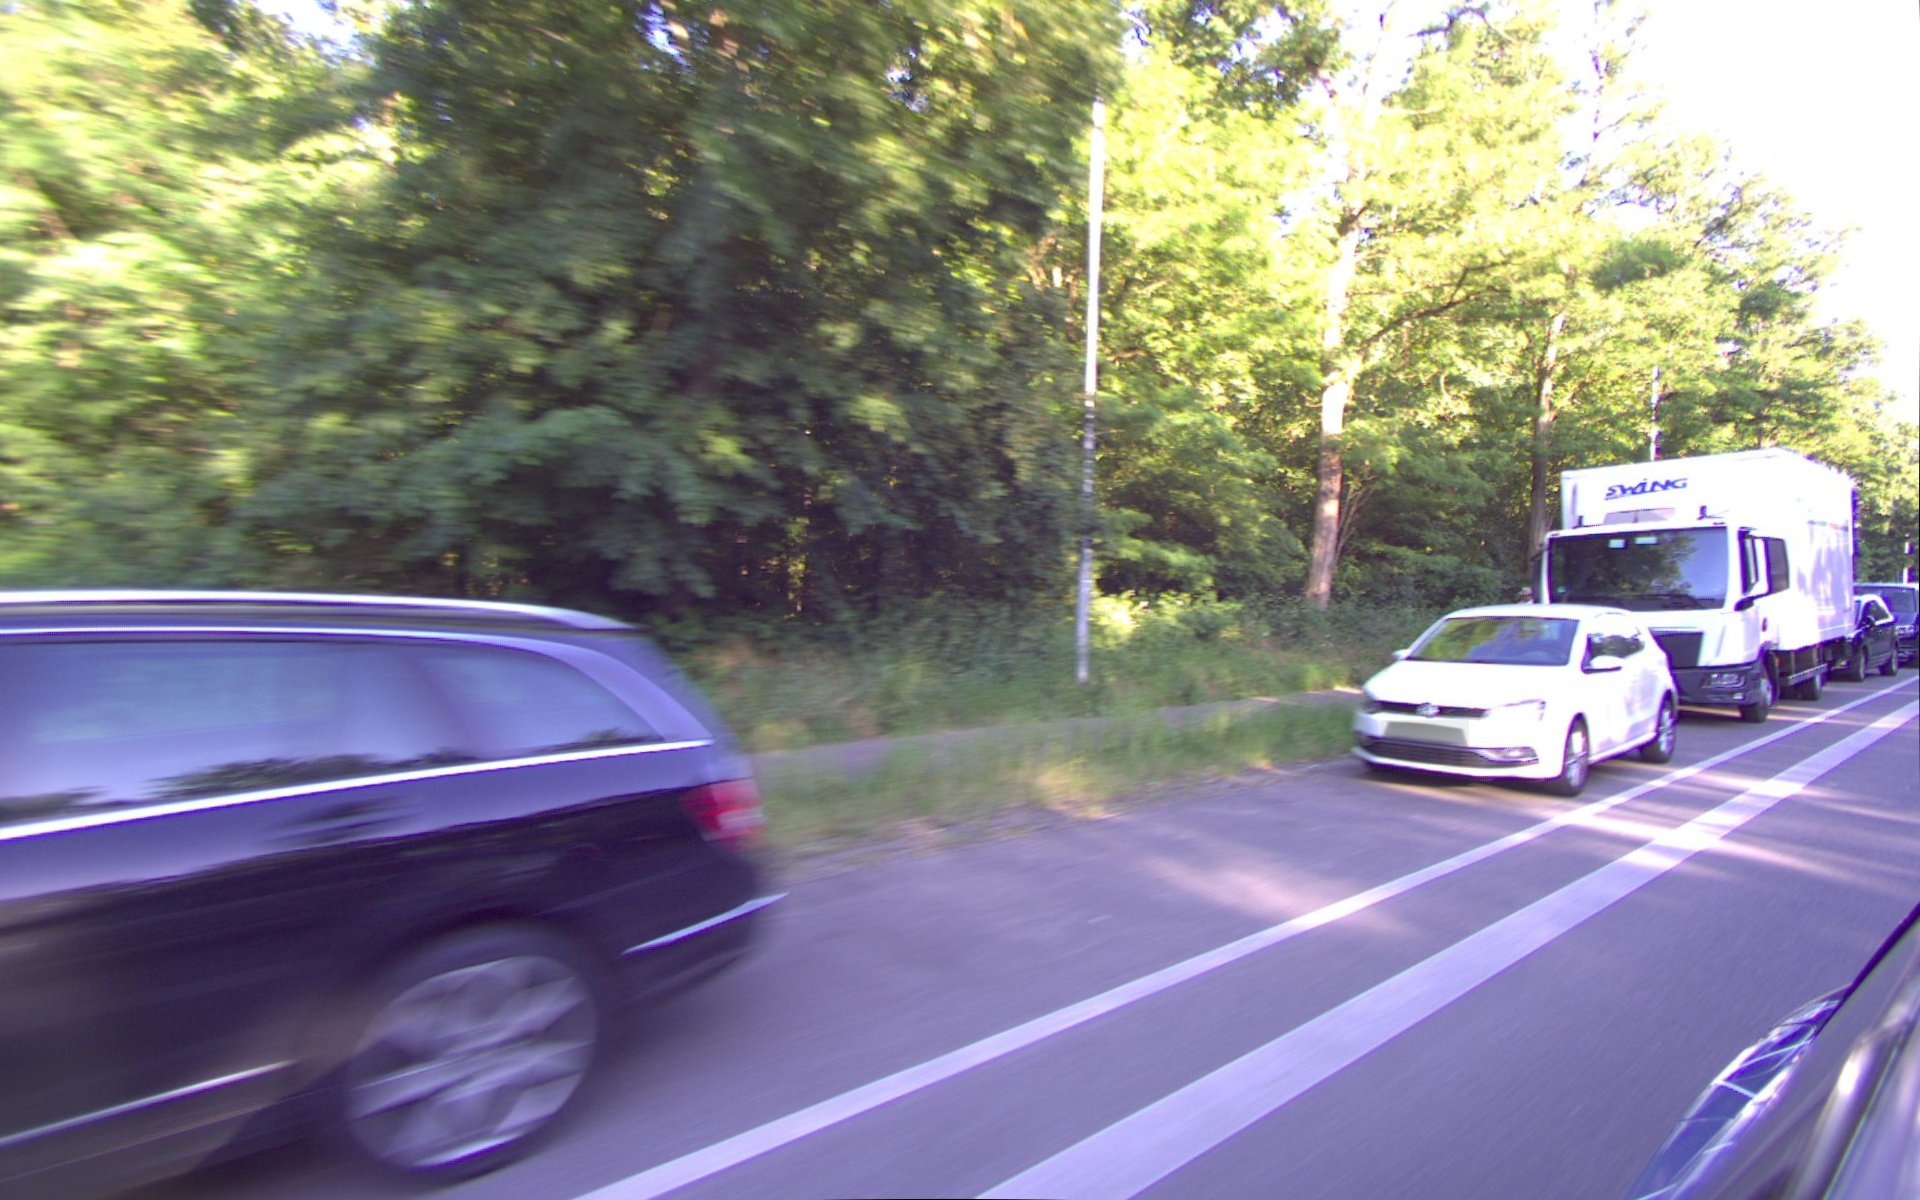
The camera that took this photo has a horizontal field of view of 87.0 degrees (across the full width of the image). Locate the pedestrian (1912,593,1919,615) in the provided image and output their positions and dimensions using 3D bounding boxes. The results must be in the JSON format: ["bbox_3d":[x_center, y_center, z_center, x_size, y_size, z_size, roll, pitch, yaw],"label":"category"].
[{"bbox_3d":[81.093,0.331,85.554,0.721,1.821,0.808,0,1,-42],"label":"pedestrian"}]

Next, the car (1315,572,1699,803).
[{"bbox_3d":[4.948,0.605,8.933,3.930,1.588,1.714,0,-1,-41],"label":"car"}]

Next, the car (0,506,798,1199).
[{"bbox_3d":[-2.749,0.619,2.323,4.470,1.588,1.715,0,-1,-40],"label":"car"}]

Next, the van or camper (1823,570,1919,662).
[{"bbox_3d":[22.617,0.331,24.515,4.506,2.038,1.901,0,2,-41],"label":"van or camper"}]

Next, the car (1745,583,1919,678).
[{"bbox_3d":[17.441,0.545,20.148,3.953,1.677,1.805,0,2,-36],"label":"car"}]

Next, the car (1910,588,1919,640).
[{"bbox_3d":[31.923,0.461,32.378,3.958,1.615,1.802,0,2,-41],"label":"car"}]

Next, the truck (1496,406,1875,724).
[{"bbox_3d":[11.202,-0.447,15.169,8.431,3.541,2.837,0,2,-42],"label":"truck"}]
